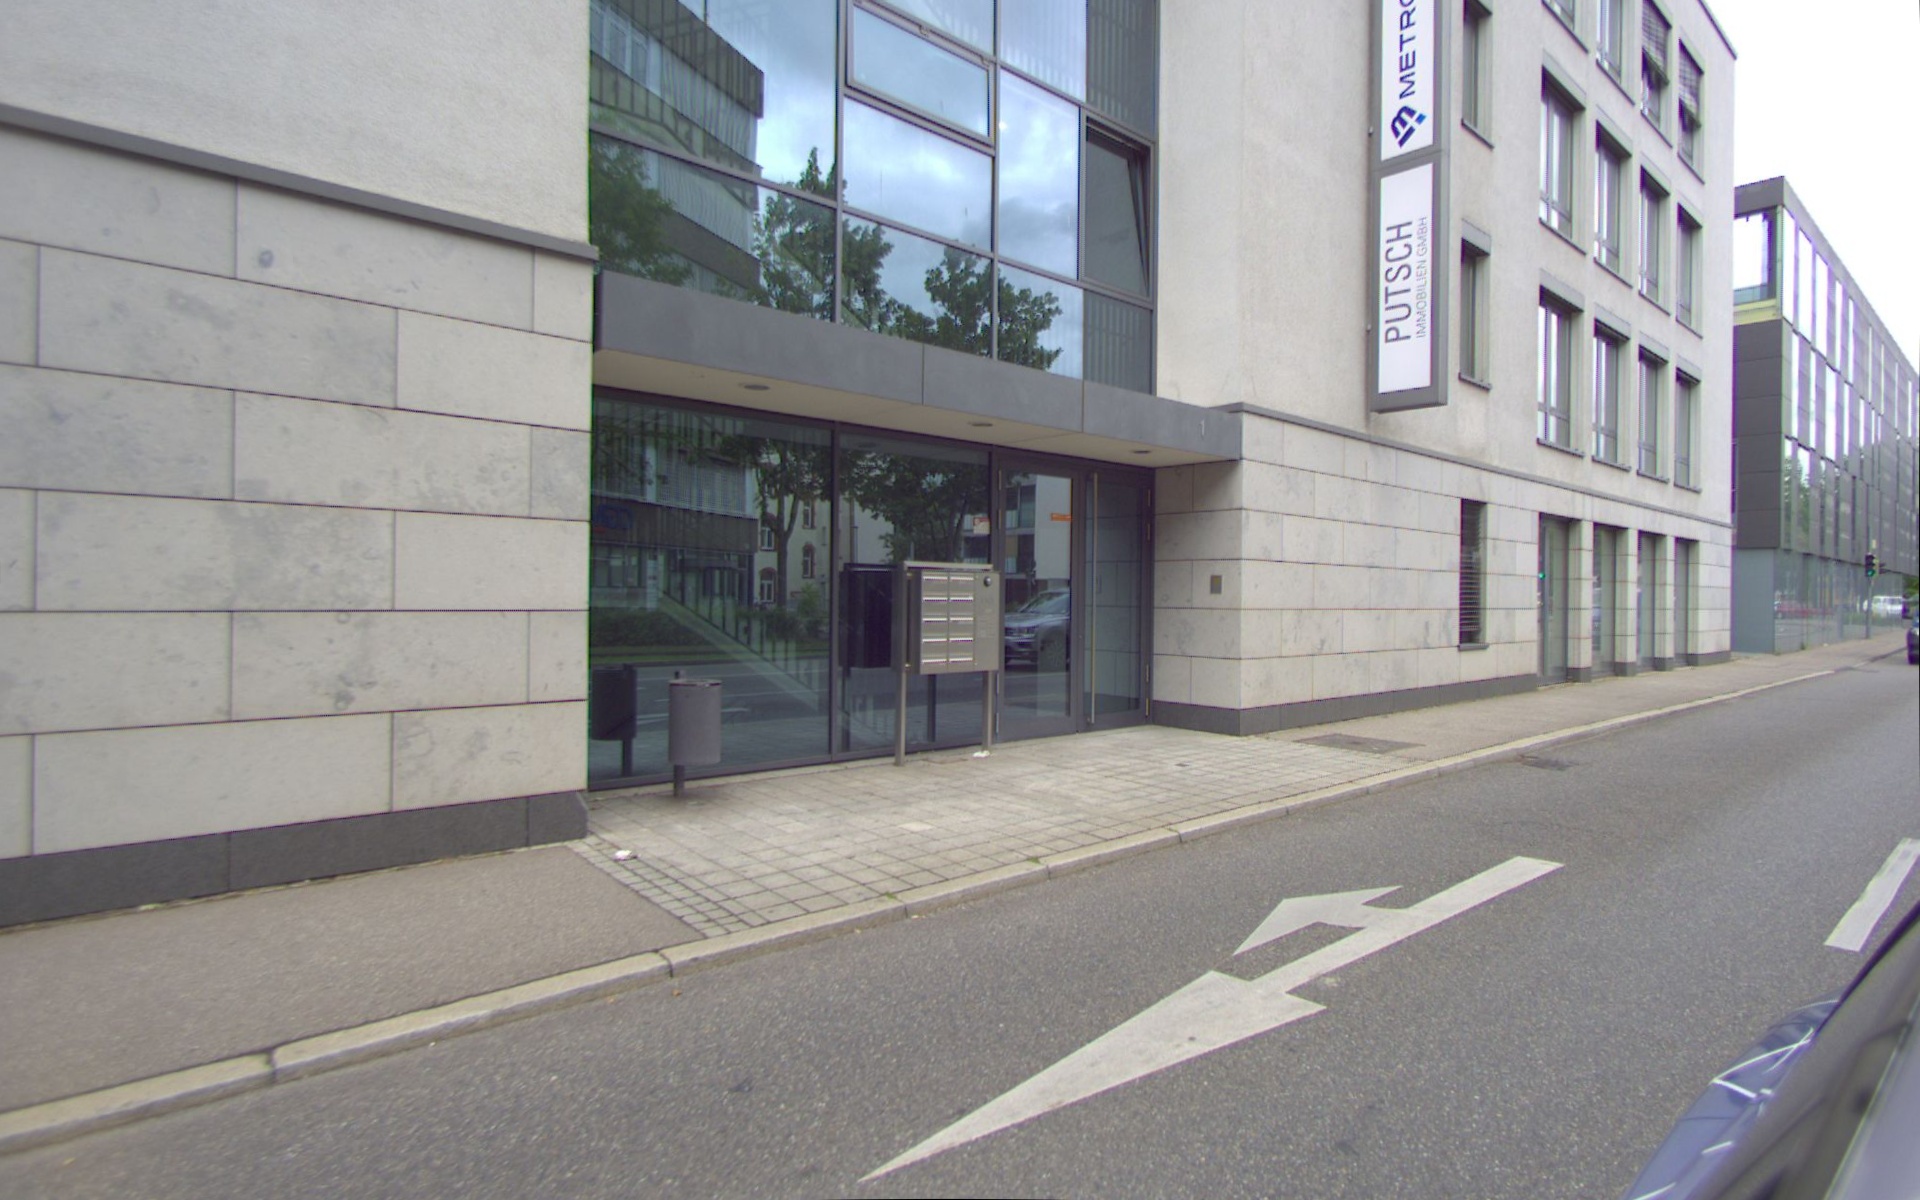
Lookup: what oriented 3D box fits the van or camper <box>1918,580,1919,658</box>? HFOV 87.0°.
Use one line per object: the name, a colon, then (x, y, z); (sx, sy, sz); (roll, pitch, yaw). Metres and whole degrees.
van or camper: (26.169, 0.480, 25.963); (4.944, 1.935, 1.863); (0, 1, -41)
